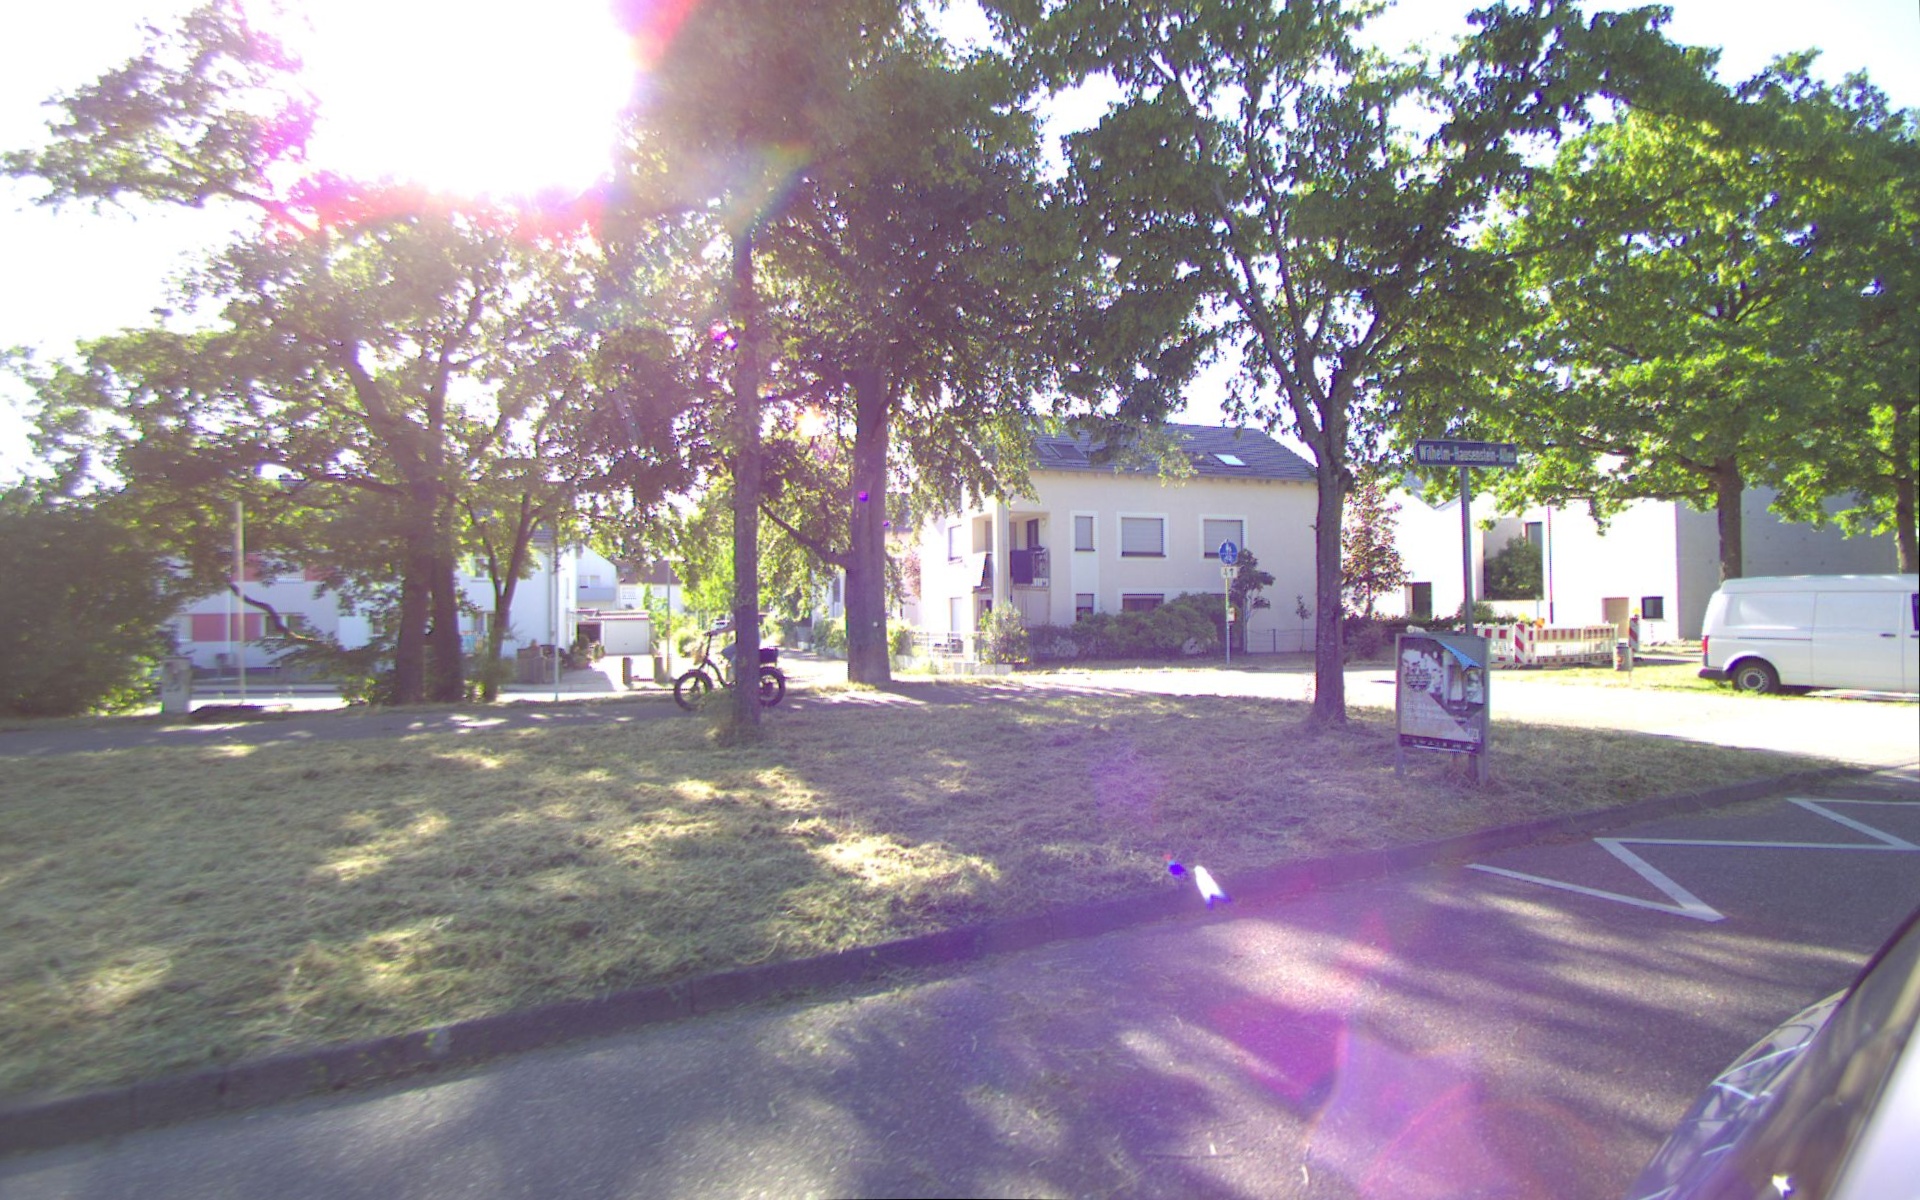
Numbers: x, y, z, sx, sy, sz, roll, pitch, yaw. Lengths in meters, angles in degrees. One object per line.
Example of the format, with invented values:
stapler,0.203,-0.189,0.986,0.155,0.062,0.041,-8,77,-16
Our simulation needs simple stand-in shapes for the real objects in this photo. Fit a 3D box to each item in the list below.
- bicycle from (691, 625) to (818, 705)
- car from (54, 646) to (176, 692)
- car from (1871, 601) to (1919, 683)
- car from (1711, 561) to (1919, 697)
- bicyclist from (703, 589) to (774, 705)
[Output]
bicycle,-3.173,0.976,15.651,1.794,1.165,0.678,0,-2,-31
car,-30.671,2.493,36.809,3.121,1.572,1.530,-1,-2,-2
car,19.934,0.782,18.854,1.722,1.583,4.004,0,-2,-28
car,15.553,0.453,16.440,1.853,2.108,5.054,0,0,-30
bicyclist,-3.384,0.704,15.433,0.832,1.687,0.727,-1,-2,-31
